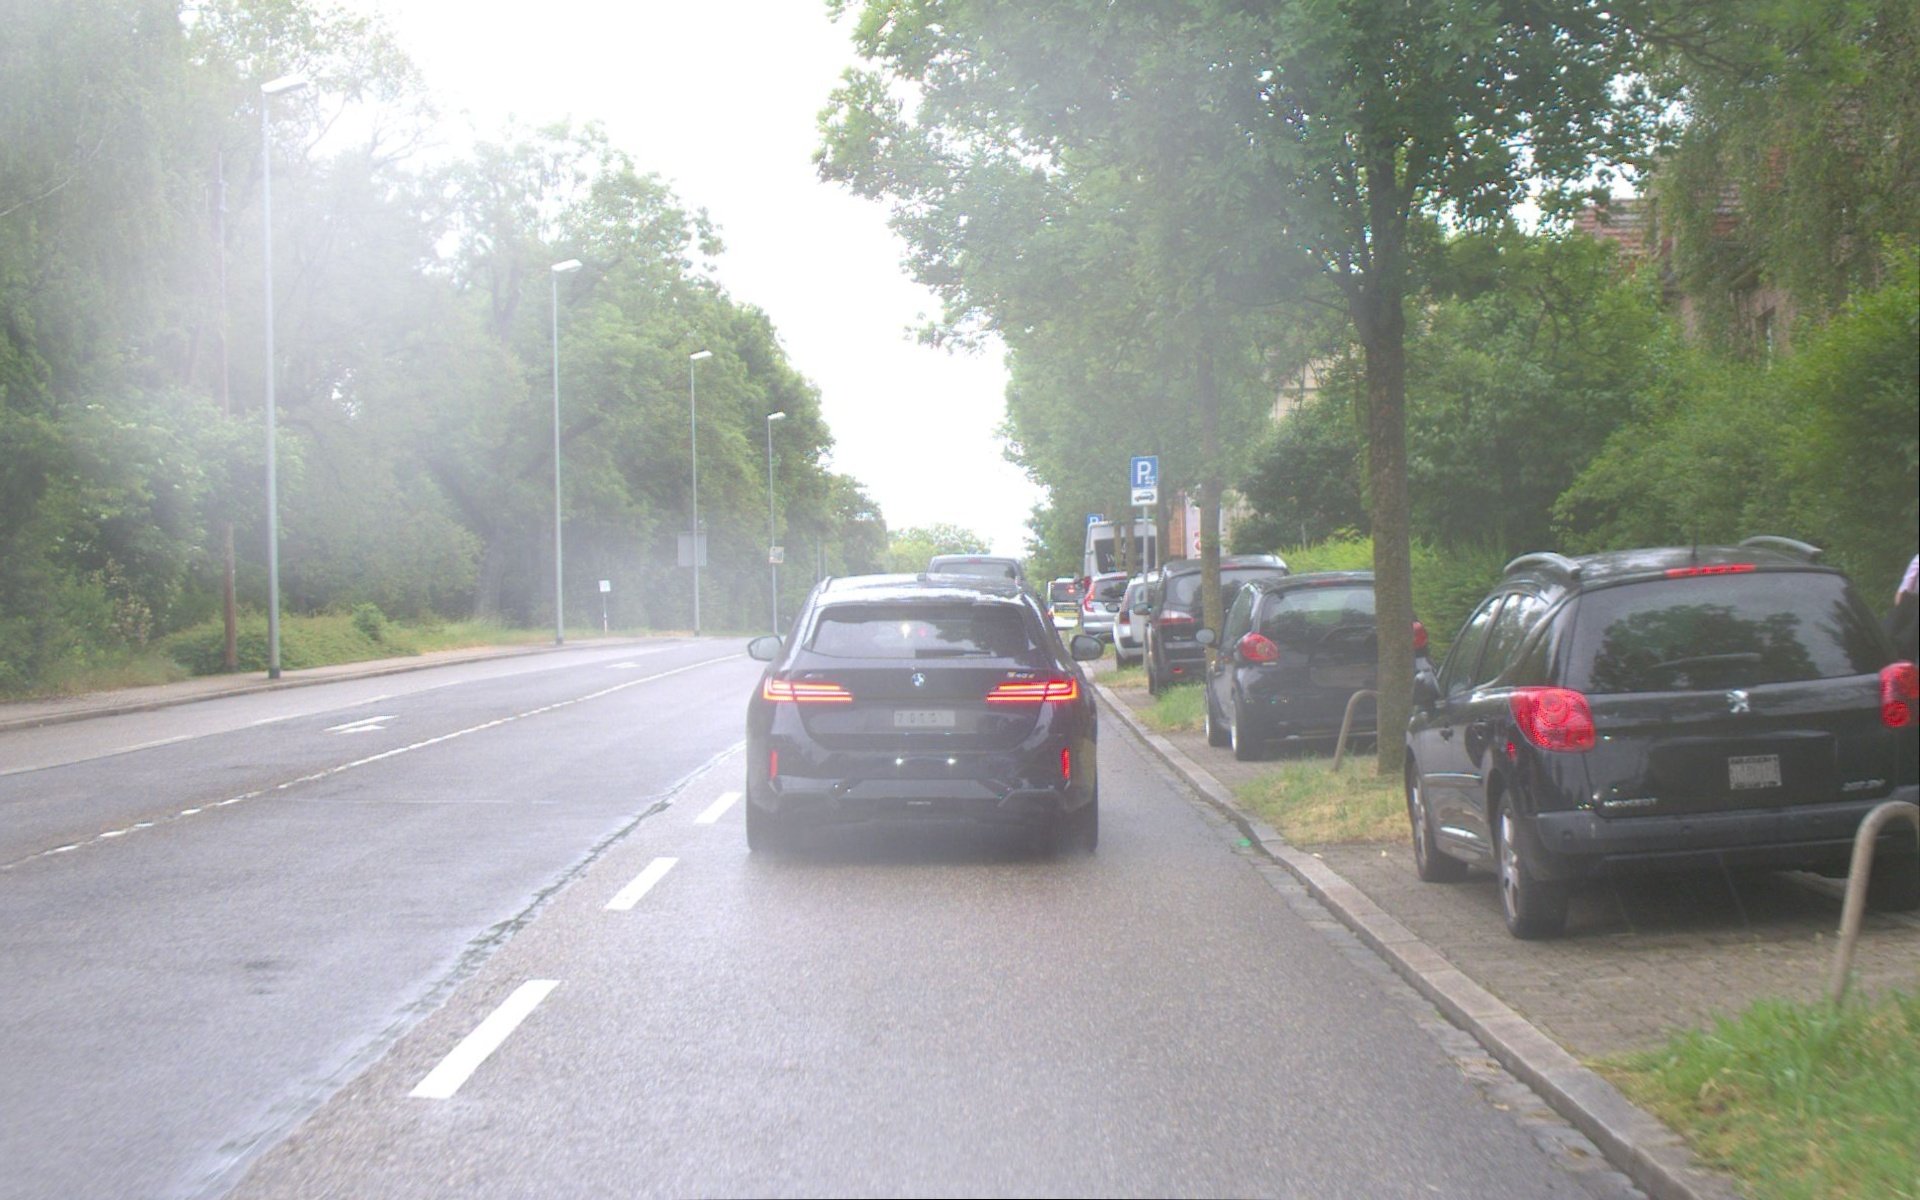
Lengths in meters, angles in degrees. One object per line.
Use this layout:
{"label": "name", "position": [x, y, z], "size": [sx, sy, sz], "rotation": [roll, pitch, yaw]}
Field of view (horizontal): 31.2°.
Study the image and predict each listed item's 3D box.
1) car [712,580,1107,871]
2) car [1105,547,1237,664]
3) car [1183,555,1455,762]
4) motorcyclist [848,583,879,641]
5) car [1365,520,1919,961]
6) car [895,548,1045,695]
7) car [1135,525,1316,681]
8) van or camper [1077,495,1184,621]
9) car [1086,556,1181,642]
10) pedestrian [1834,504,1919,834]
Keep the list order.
{"label": "car", "position": [-0.268, 0.639, 19.594], "size": [1.993, 1.448, 4.000], "rotation": [1, 0, 0]}
{"label": "car", "position": [3.231, 0.043, 52.042], "size": [1.824, 1.597, 4.473], "rotation": [-3, 1, 5]}
{"label": "car", "position": [2.908, 0.428, 28.534], "size": [1.722, 1.507, 3.786], "rotation": [-3, 1, -1]}
{"label": "motorcyclist", "position": [-2.803, 0.344, 100.042], "size": [0.810, 1.675, 0.651], "rotation": [0, 1, -10]}
{"label": "car", "position": [2.892, 0.493, 14.966], "size": [1.641, 1.590, 4.014], "rotation": [-3, 1, -1]}
{"label": "car", "position": [0.189, 0.299, 49.325], "size": [1.993, 2.007, 4.000], "rotation": [-1, 0, 2]}
{"label": "car", "position": [3.140, 0.003, 41.403], "size": [1.824, 1.672, 4.584], "rotation": [-3, 1, 1]}
{"label": "van or camper", "position": [3.868, -0.981, 78.840], "size": [2.198, 2.642, 7.301], "rotation": [-3, 1, 2]}
{"label": "car", "position": [3.417, -0.041, 67.137], "size": [1.669, 1.523, 3.831], "rotation": [-4, 0, 4]}
{"label": "pedestrian", "position": [5.085, 0.336, 17.940], "size": [0.716, 1.674, 0.895], "rotation": [-2, 0, -3]}
